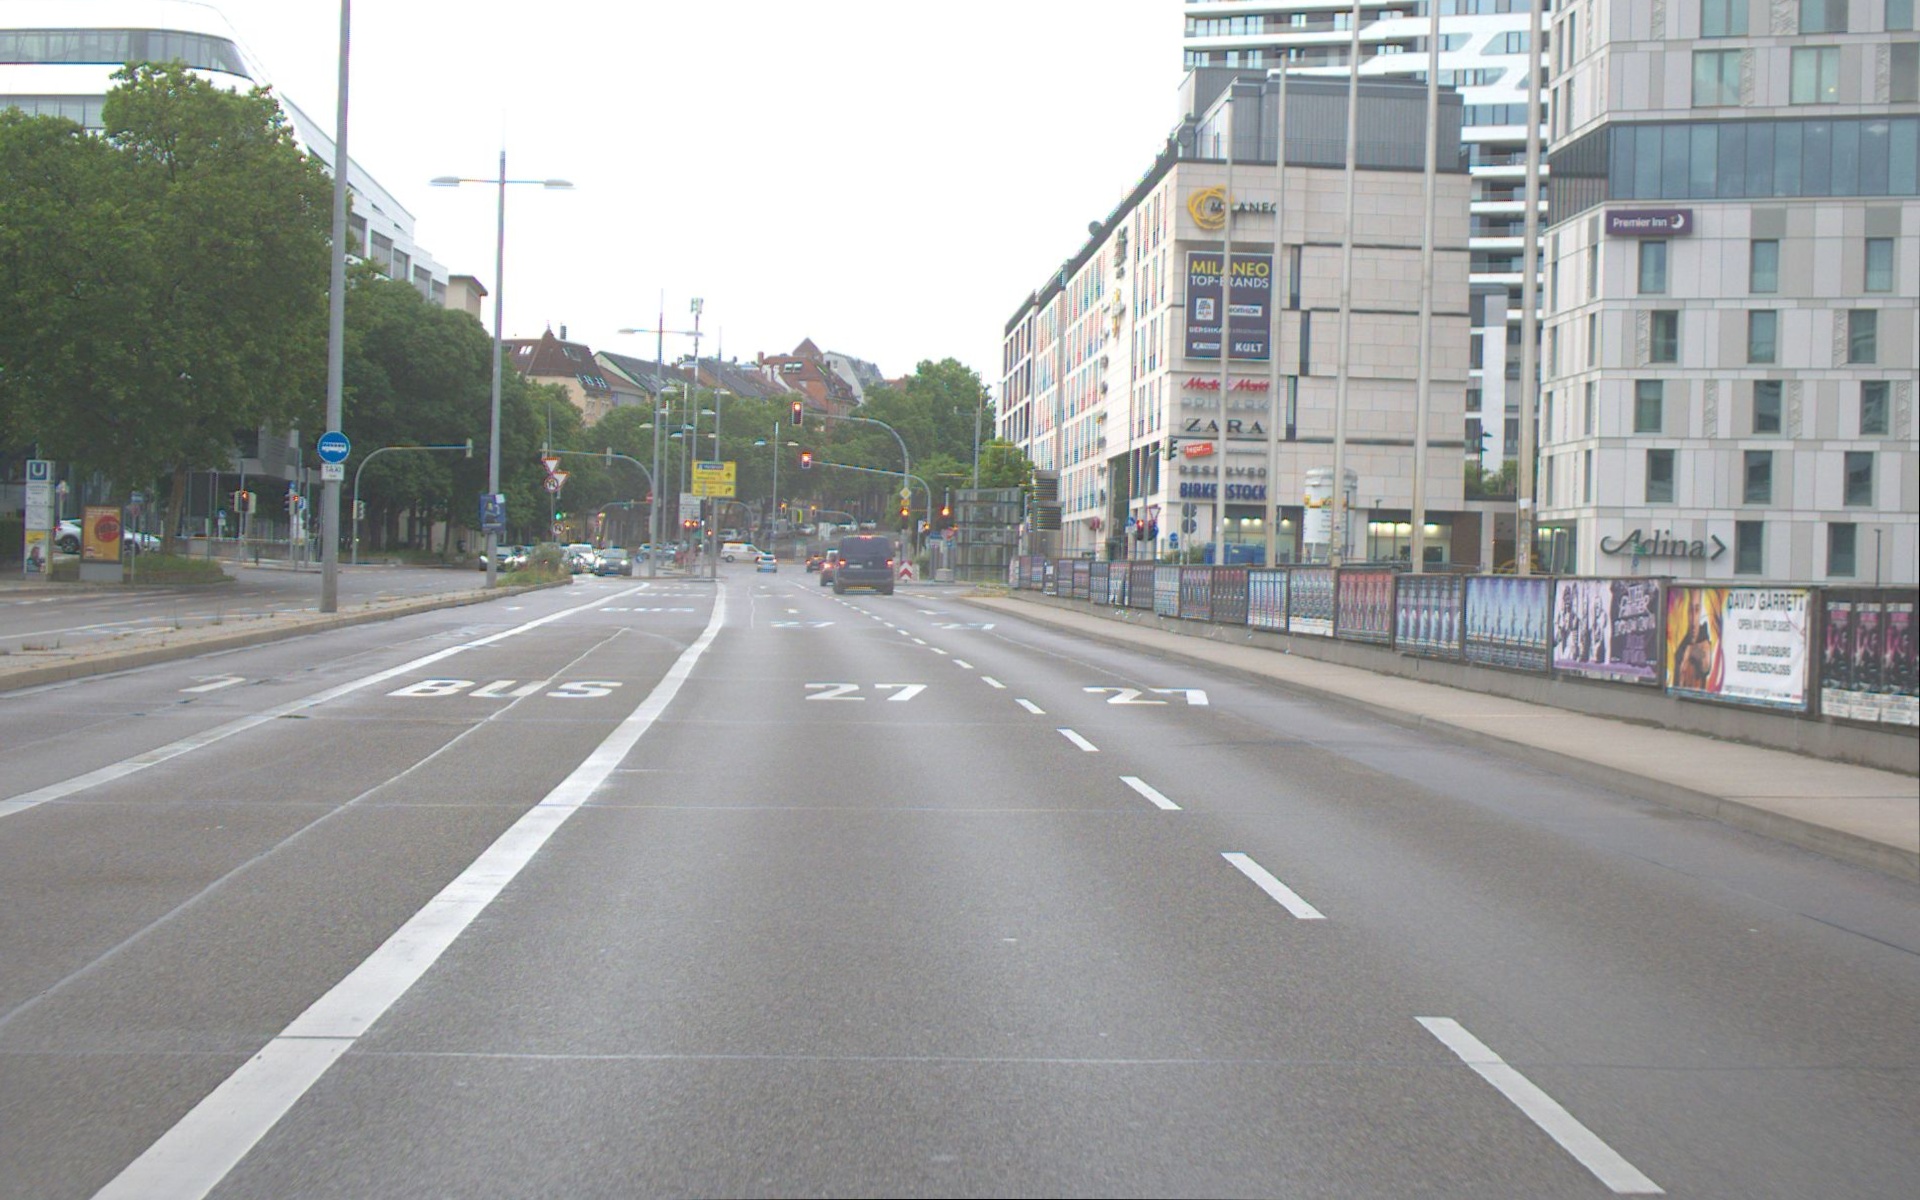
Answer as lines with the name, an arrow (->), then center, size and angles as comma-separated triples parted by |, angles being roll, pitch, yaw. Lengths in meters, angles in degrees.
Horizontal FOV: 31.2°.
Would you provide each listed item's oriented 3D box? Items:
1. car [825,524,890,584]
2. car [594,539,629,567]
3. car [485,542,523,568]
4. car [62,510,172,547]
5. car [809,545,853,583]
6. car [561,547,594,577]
car -> -3.482, -1.581, 116.283 | 2.033, 1.875, 5.042 | -2, 2, -3
car -> -18.827, -2.557, 185.968 | 1.743, 1.439, 3.395 | 1, 0, -3
car -> -24.746, -2.448, 186.556 | 1.743, 1.324, 4.226 | 1, 0, -3
car -> -38.631, -3.283, 157.510 | 4.504, 1.626, 1.894 | 1, 0, 13
car -> -5.305, -1.472, 141.141 | 1.739, 1.526, 3.814 | 1, 0, -3
car -> -23.164, -2.281, 208.243 | 1.743, 1.742, 3.540 | 1, 0, -3
